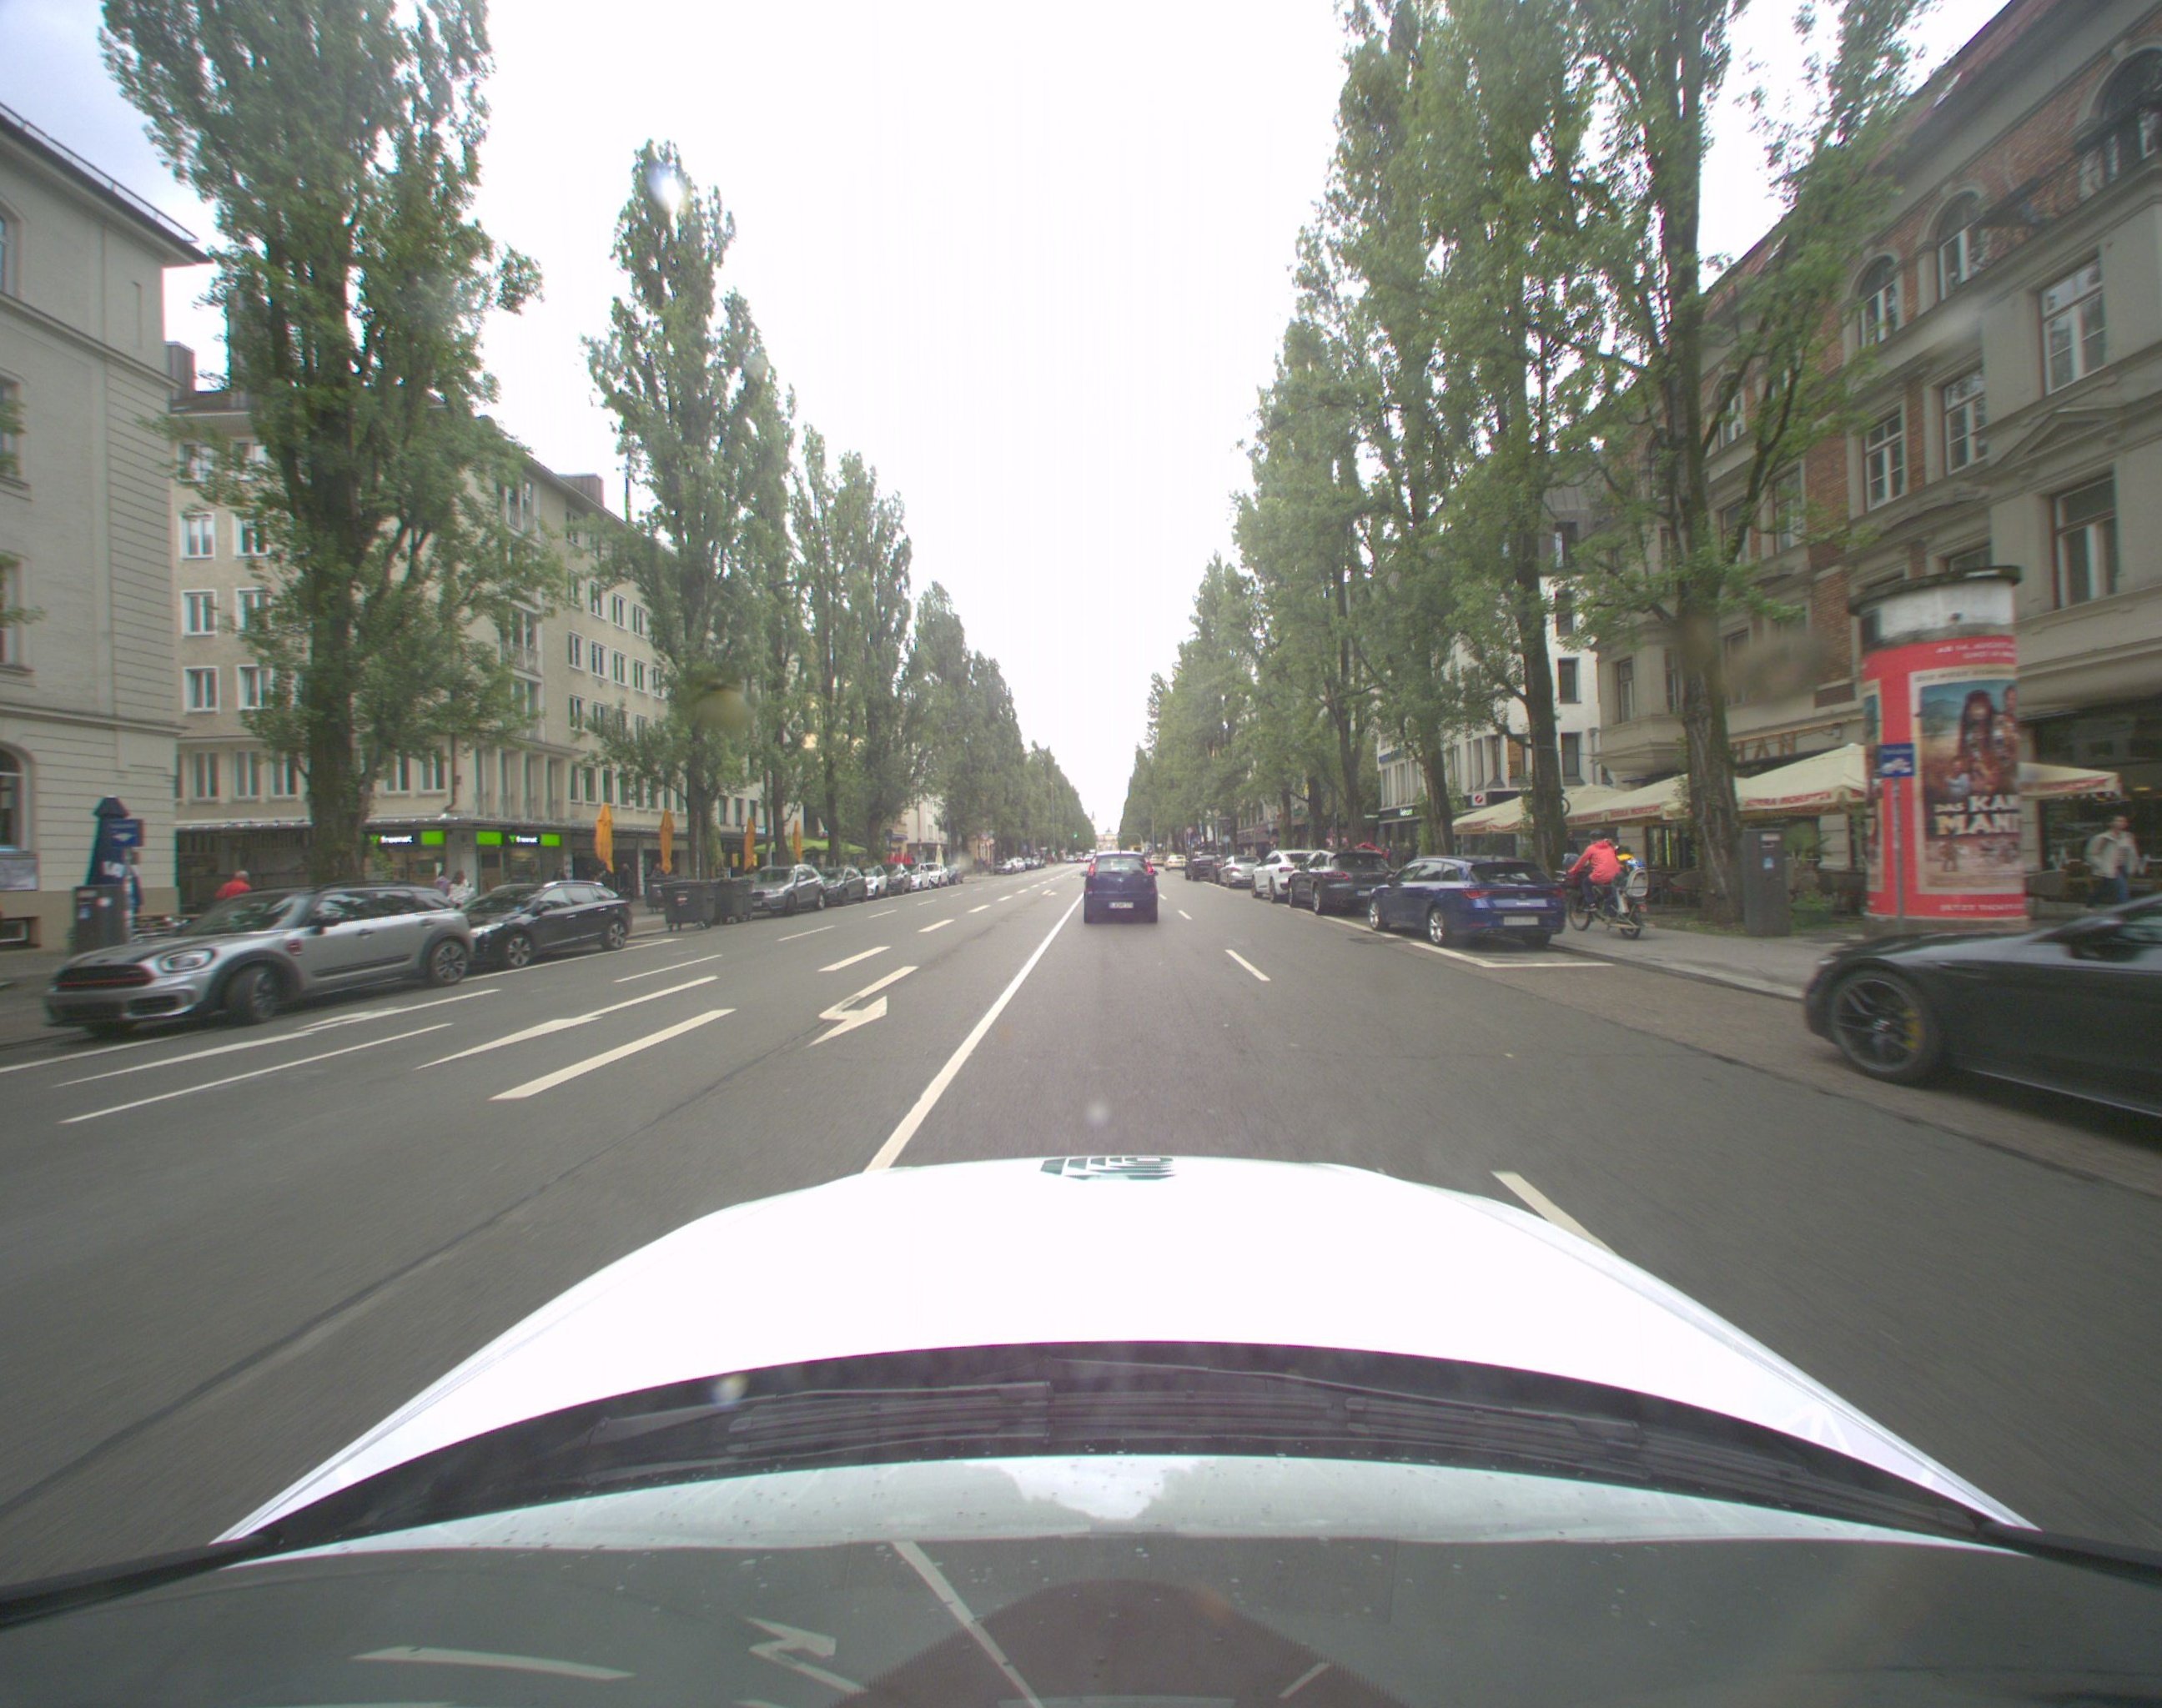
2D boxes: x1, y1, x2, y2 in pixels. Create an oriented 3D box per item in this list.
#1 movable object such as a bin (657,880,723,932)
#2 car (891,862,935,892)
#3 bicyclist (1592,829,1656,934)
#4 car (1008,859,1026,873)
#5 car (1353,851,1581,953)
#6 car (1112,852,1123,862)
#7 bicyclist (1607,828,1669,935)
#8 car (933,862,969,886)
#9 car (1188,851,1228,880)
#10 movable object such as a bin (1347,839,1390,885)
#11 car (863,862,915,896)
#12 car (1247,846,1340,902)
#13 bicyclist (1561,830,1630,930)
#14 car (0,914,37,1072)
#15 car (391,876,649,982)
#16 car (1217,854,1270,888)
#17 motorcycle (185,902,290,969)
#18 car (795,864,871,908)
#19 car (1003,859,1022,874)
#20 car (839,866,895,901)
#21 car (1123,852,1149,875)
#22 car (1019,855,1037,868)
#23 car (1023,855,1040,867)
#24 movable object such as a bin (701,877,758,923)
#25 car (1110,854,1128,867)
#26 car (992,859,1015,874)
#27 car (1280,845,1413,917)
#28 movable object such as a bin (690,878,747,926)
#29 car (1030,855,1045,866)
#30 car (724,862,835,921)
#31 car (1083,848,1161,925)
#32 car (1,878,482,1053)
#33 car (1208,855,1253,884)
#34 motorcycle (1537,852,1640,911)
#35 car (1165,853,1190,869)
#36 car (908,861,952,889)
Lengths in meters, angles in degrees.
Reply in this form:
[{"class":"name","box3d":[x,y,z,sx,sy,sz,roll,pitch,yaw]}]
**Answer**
[{"class":"movable object such as a bin","box3d":[-10.525,1.386,21.951,1.272,1.310,0.902,-2,0,2]},{"class":"car","box3d":[-9.338,1.233,45.470,1.566,1.534,2.926,-2,0,4]},{"class":"bicyclist","box3d":[8.492,0.416,12.742,0.619,1.588,0.481,-2,0,1]},{"class":"car","box3d":[-7.275,1.375,93.069,1.648,1.562,3.459,-2,0,2]},{"class":"car","box3d":[6.334,0.692,14.015,1.744,1.405,4.463,-2,0,-1]},{"class":"car","box3d":[6.520,0.601,145.917,1.955,1.677,3.780,-2,0,1]},{"class":"bicyclist","box3d":[8.488,0.414,12.420,0.619,1.588,0.391,-2,0,1]},{"class":"car","box3d":[-8.686,1.321,54.690,1.579,1.447,3.394,-2,0,4]},{"class":"car","box3d":[7.216,0.618,46.423,1.791,1.594,4.106,0,0,2]},{"class":"movable object such as a bin","box3d":[11.357,0.313,32.195,1.030,1.703,1.586,-2,0,-2]},{"class":"car","box3d":[-9.600,1.213,40.994,1.836,1.565,4.174,-2,0,-4]},{"class":"car","box3d":[6.668,0.578,26.065,1.820,1.621,4.748,-1,0,1]},{"class":"bicyclist","box3d":[8.510,0.420,13.496,0.619,1.588,0.753,-2,0,1]},{"class":"car","box3d":[-10.720,1.330,5.341,1.680,1.424,4.685,-4,0,-1]},{"class":"car","box3d":[-10.340,1.289,15.488,1.656,1.504,4.316,-4,0,3]},{"class":"car","box3d":[7.191,0.713,36.376,1.664,1.406,4.128,0,0,1]},{"class":"motorcycle","box3d":[-16.678,1.576,16.164,0.476,1.139,1.807,-2,0,-12]},{"class":"car","box3d":[-9.769,1.219,32.391,1.692,1.550,4.083,-2,0,1]},{"class":"car","box3d":[-7.385,1.359,88.138,1.541,1.453,3.459,-2,0,2]},{"class":"car","box3d":[-9.690,1.309,37.075,1.626,1.428,2.983,-2,0,1]},{"class":"car","box3d":[4.040,0.663,60.715,1.700,1.574,4.001,-2,0,1]},{"class":"car","box3d":[-6.851,0.927,104.886,1.955,1.530,4.000,-2,0,0]},{"class":"car","box3d":[-6.696,0.943,111.026,1.955,1.399,3.780,-2,0,1]},{"class":"movable object such as a bin","box3d":[-10.658,1.383,24.726,1.309,1.317,0.819,-2,0,0]},{"class":"car","box3d":[4.438,0.734,95.281,1.986,1.497,4.001,-2,0,1]},{"class":"car","box3d":[-7.783,1.251,82.060,1.823,1.420,3.812,-2,0,2]},{"class":"car","box3d":[6.613,0.613,20.860,1.986,1.565,4.485,-2,0,1]},{"class":"movable object such as a bin","box3d":[-10.605,1.385,23.866,1.255,1.317,0.825,-2,0,0]},{"class":"car","box3d":[-6.488,0.949,121.681,1.986,1.662,4.001,-2,0,1]},{"class":"car","box3d":[-10.055,1.199,27.570,1.858,1.654,4.616,-4,0,1]},{"class":"car","box3d":[0.928,0.698,19.700,1.675,1.641,4.001,-1,0,1]},{"class":"car","box3d":[-10.268,1.223,10.551,1.775,1.575,4.134,-4,0,2]},{"class":"car","box3d":[7.458,0.739,40.857,1.676,1.415,3.584,0,0,1]},{"class":"motorcycle","box3d":[11.046,0.590,17.754,1.826,1.179,0.695,-2,0,-4]},{"class":"car","box3d":[8.685,0.588,73.431,1.890,1.362,3.901,-2,0,2]},{"class":"car","box3d":[-9.100,1.225,49.389,1.829,1.546,4.086,-2,0,0]}]
